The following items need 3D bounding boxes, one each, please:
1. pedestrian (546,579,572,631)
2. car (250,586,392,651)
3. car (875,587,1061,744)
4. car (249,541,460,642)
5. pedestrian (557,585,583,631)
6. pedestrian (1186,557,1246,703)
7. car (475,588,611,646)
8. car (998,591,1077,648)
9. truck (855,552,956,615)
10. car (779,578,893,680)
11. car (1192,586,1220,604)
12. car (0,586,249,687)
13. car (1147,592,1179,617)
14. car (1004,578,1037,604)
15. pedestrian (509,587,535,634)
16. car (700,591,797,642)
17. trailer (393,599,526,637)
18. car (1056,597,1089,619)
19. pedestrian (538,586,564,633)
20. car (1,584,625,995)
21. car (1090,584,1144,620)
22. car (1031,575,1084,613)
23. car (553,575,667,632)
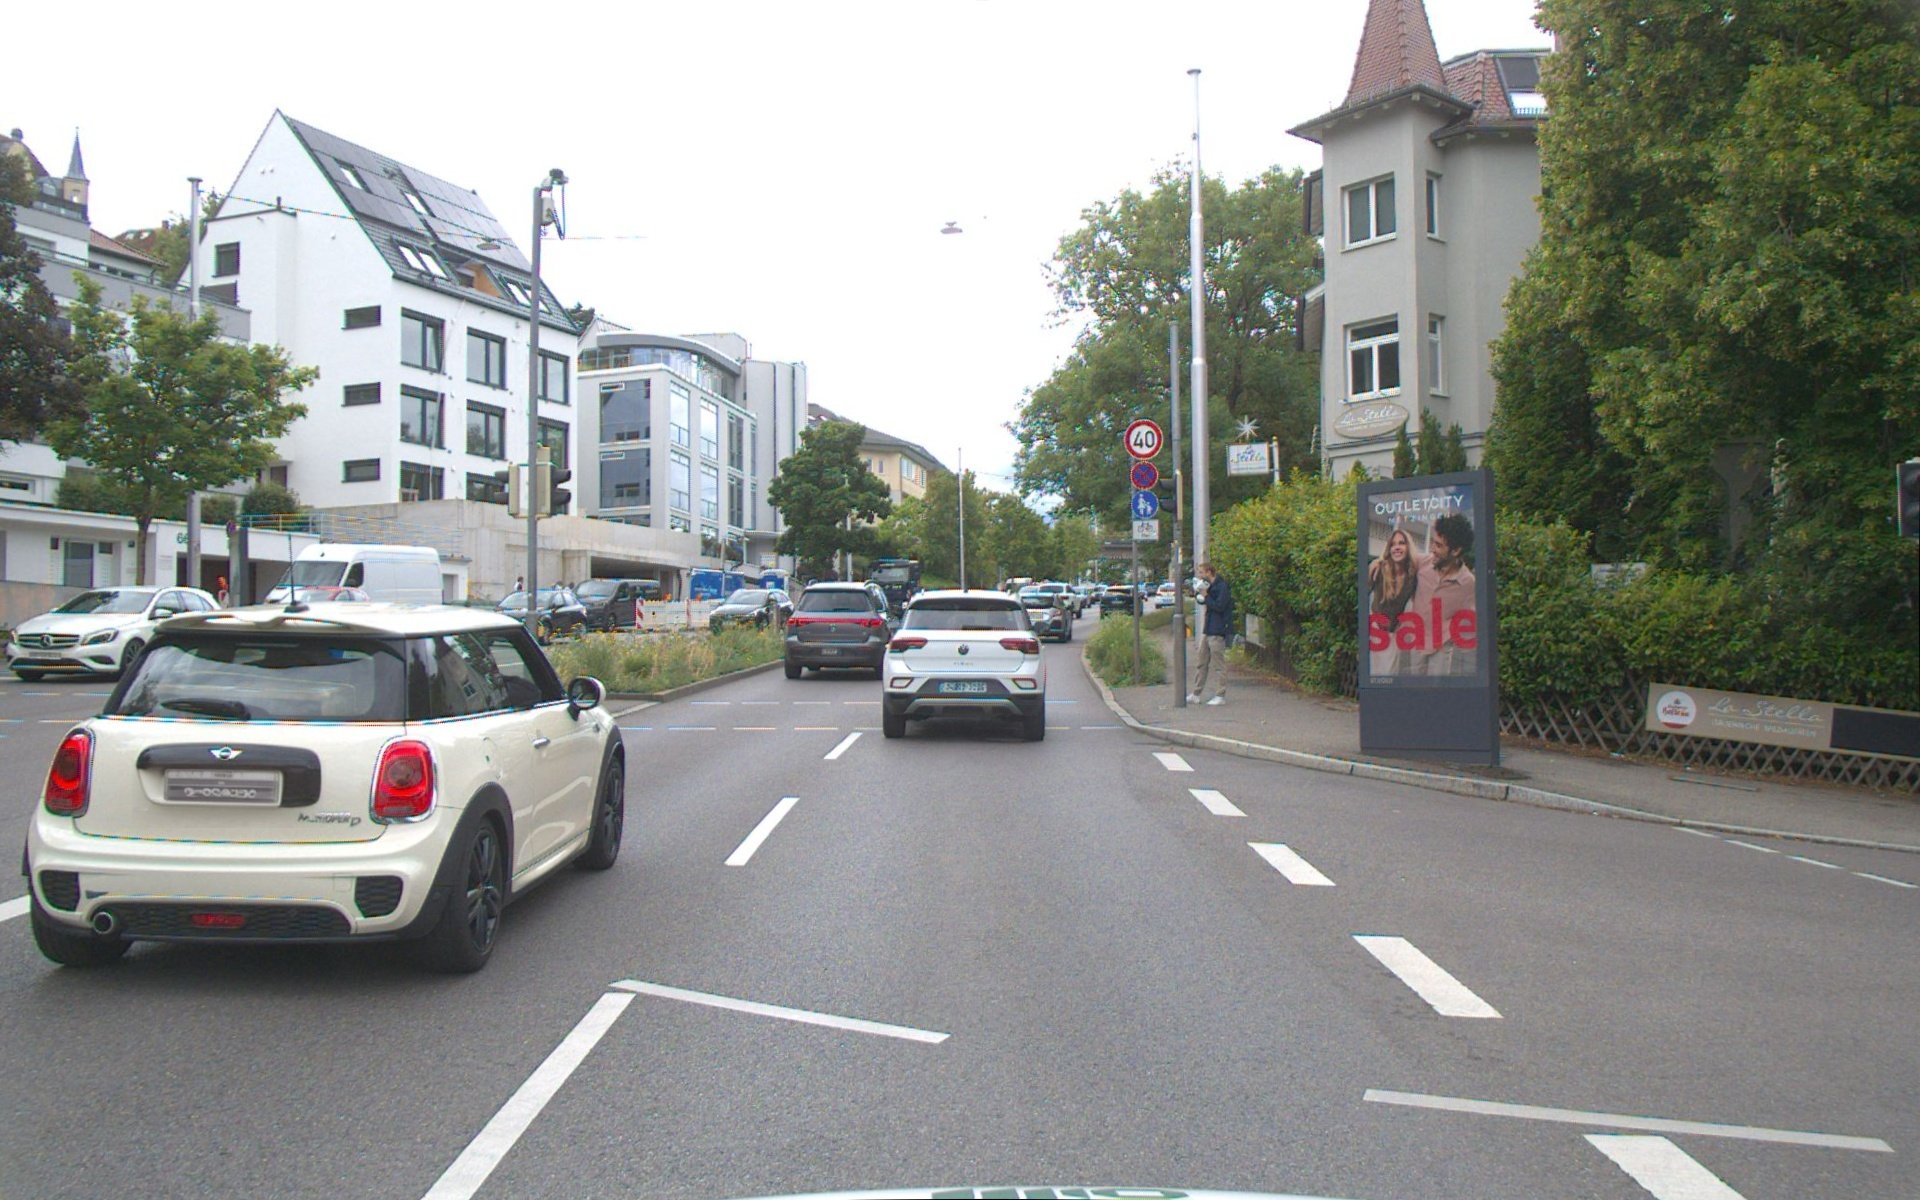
[{"bbox_3d":[-14.636,0.190,60.326,0.669,1.872,0.663,2,0,-38],"label":"pedestrian"},{"bbox_3d":[-15.353,0.425,39.944,1.587,1.491,3.929,0,0,6],"label":"car"},{"bbox_3d":[-0.005,0.657,18.610,1.776,1.566,3.686,-1,0,-5],"label":"car"},{"bbox_3d":[-16.894,-0.229,46.718,2.183,2.613,7.428,0,0,10],"label":"car"},{"bbox_3d":[-14.484,0.295,61.419,0.669,1.669,0.663,2,0,-38],"label":"pedestrian"},{"bbox_3d":[3.356,0.387,21.702,0.679,1.866,0.620,1,0,1],"label":"pedestrian"},{"bbox_3d":[-11.052,0.457,44.089,1.592,1.417,3.858,2,0,19],"label":"car"},{"bbox_3d":[2.356,0.571,49.173,1.833,1.527,4.558,3,0,8],"label":"car"},{"bbox_3d":[-2.621,-0.808,83.466,2.898,3.023,8.986,1,0,13],"label":"truck"},{"bbox_3d":[-2.164,0.472,29.897,1.776,1.681,4.635,-1,0,-1],"label":"car"},{"bbox_3d":[21.388,-0.445,144.059,1.944,1.526,4.056,-1,0,1],"label":"car"},{"bbox_3d":[-13.102,0.535,26.218,1.616,1.417,4.146,2,0,3],"label":"car"},{"bbox_3d":[12.905,0.278,104.906,1.818,1.526,4.059,-1,0,10],"label":"car"},{"bbox_3d":[5.475,-0.809,148.093,2.024,2.346,5.470,0,0,12],"label":"car"},{"bbox_3d":[-15.669,0.364,59.167,0.612,1.669,0.672,2,0,16],"label":"pedestrian"},{"bbox_3d":[-6.777,0.517,53.427,1.656,1.527,4.559,1,0,12],"label":"car"},{"bbox_3d":[-15.843,0.544,52.645,2.198,1.131,4.626,0,0,10],"label":"trailer"},{"bbox_3d":[7.672,0.547,112.269,1.804,1.418,4.288,0,0,10],"label":"car"},{"bbox_3d":[-14.641,0.346,59.208,0.669,1.669,0.663,2,0,-38],"label":"pedestrian"},{"bbox_3d":[-2.643,0.661,7.637,1.595,1.417,3.564,-1,0,-3],"label":"car"},{"bbox_3d":[7.341,0.107,76.879,1.833,1.527,4.558,3,0,13],"label":"car"},{"bbox_3d":[4.579,-0.277,77.270,1.818,1.681,4.640,-1,0,11],"label":"car"},{"bbox_3d":[-12.775,0.100,60.754,1.940,2.001,5.222,0,0,15],"label":"car"}]
